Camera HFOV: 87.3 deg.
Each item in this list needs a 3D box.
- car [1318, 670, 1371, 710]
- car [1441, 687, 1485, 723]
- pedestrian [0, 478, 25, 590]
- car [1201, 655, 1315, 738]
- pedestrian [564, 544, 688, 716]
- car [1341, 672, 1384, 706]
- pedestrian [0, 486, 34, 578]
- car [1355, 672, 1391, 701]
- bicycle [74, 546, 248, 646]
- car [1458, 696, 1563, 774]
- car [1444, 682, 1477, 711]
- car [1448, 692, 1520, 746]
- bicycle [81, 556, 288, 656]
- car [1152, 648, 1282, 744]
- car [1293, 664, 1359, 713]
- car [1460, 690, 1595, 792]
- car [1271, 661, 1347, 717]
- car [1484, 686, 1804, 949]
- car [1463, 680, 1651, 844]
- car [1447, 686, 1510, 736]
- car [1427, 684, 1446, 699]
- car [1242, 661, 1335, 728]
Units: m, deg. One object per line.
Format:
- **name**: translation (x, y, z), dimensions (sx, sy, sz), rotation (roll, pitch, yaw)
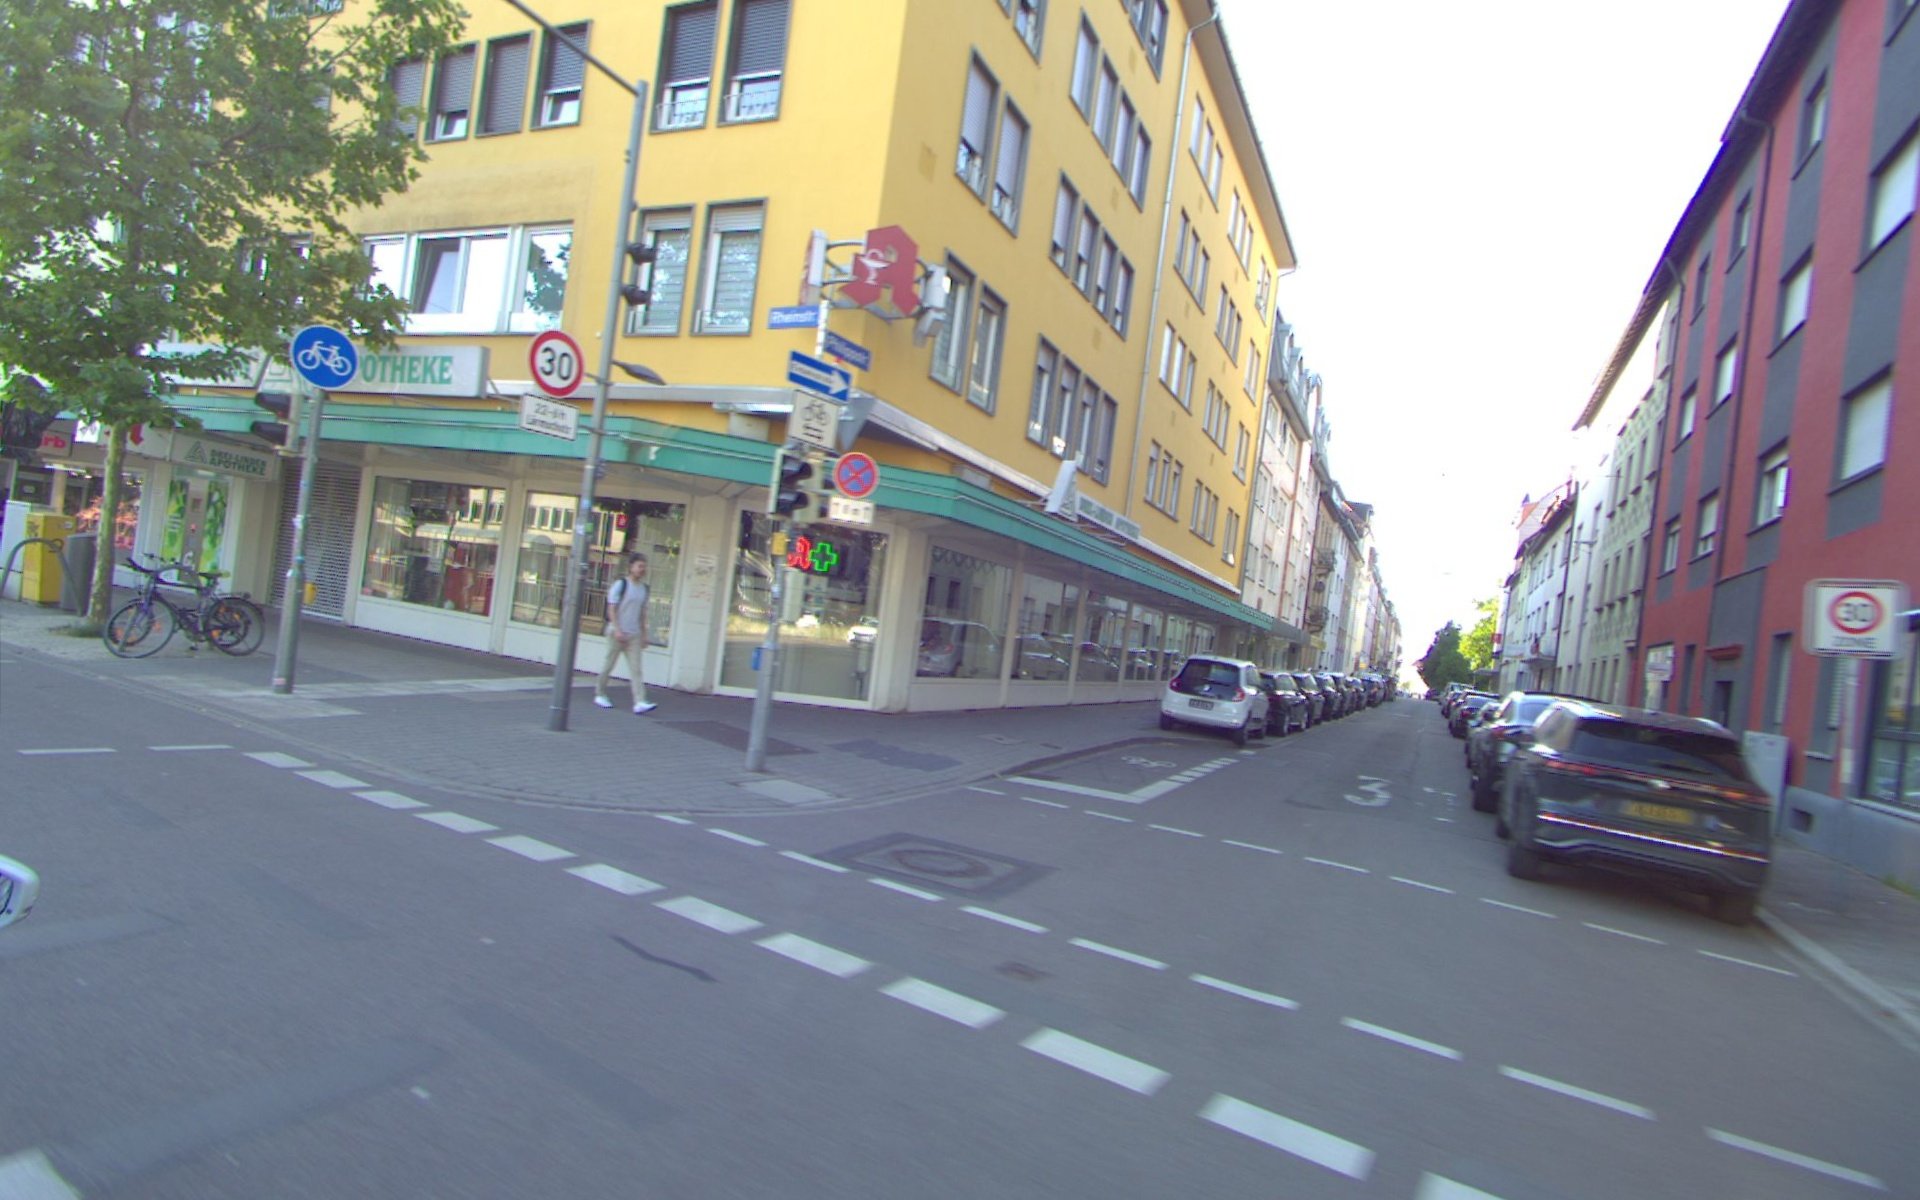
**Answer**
- **car**: translation (17.814, 4.180, 46.521), dimensions (1.741, 1.501, 3.775), rotation (9, -1, 27)
- **car**: translation (26.304, 5.445, 52.675), dimensions (1.740, 1.580, 3.750), rotation (7, -2, 24)
- **pedestrian**: translation (-16.271, -1.148, 16.702), dimensions (0.753, 1.828, 0.725), rotation (6, 0, 26)
- **car**: translation (7.073, 2.247, 23.627), dimensions (1.741, 1.501, 3.775), rotation (9, -1, 27)
- **pedestrian**: translation (-3.755, 0.342, 11.332), dimensions (0.879, 1.801, 0.745), rotation (6, 0, 26)
- **car**: translation (22.033, 4.882, 54.995), dimensions (1.741, 1.501, 3.775), rotation (9, -1, 27)
- **pedestrian**: translation (-18.819, -1.358, 19.646), dimensions (0.753, 1.744, 0.725), rotation (6, 0, 26)
- **car**: translation (27.423, 5.758, 66.800), dimensions (1.741, 1.642, 3.775), rotation (9, -1, 27)
- **bicycle**: translation (-9.360, -0.014, 11.843), dimensions (0.446, 1.020, 1.488), rotation (7, -1, 23)
- **car**: translation (13.039, 3.139, 24.025), dimensions (1.740, 1.419, 3.855), rotation (7, -1, 24)
- **car**: translation (34.987, 6.732, 70.353), dimensions (1.740, 1.709, 3.749), rotation (7, -1, 24)
- **car**: translation (17.574, 3.950, 33.888), dimensions (1.740, 1.419, 3.749), rotation (7, -1, 24)
- **bicycle**: translation (-8.863, 0.097, 11.592), dimensions (0.531, 1.021, 1.802), rotation (7, 1, 23)
- **car**: translation (5.173, 1.881, 19.996), dimensions (1.741, 1.501, 3.320), rotation (7, -1, 26)
- **car**: translation (13.968, 3.366, 38.297), dimensions (1.741, 1.501, 3.775), rotation (9, -1, 27)
- **car**: translation (10.830, 2.619, 19.443), dimensions (1.740, 1.503, 3.813), rotation (7, -1, 24)
- **car**: translation (11.700, 2.980, 33.608), dimensions (1.741, 1.501, 3.775), rotation (9, -1, 27)
- **car**: translation (6.324, 1.832, 9.849), dimensions (1.741, 1.706, 4.354), rotation (8, -1, 26)
- **car**: translation (8.456, 2.174, 14.638), dimensions (1.741, 1.761, 4.615), rotation (7, -1, 26)
- **car**: translation (19.911, 4.239, 38.746), dimensions (1.740, 1.580, 3.749), rotation (7, -1, 24)
- **car**: translation (56.207, 10.810, 118.658), dimensions (1.740, 1.508, 3.749), rotation (7, -1, 24)
- **car**: translation (9.340, 2.653, 28.431), dimensions (1.741, 1.501, 3.775), rotation (9, -1, 27)
